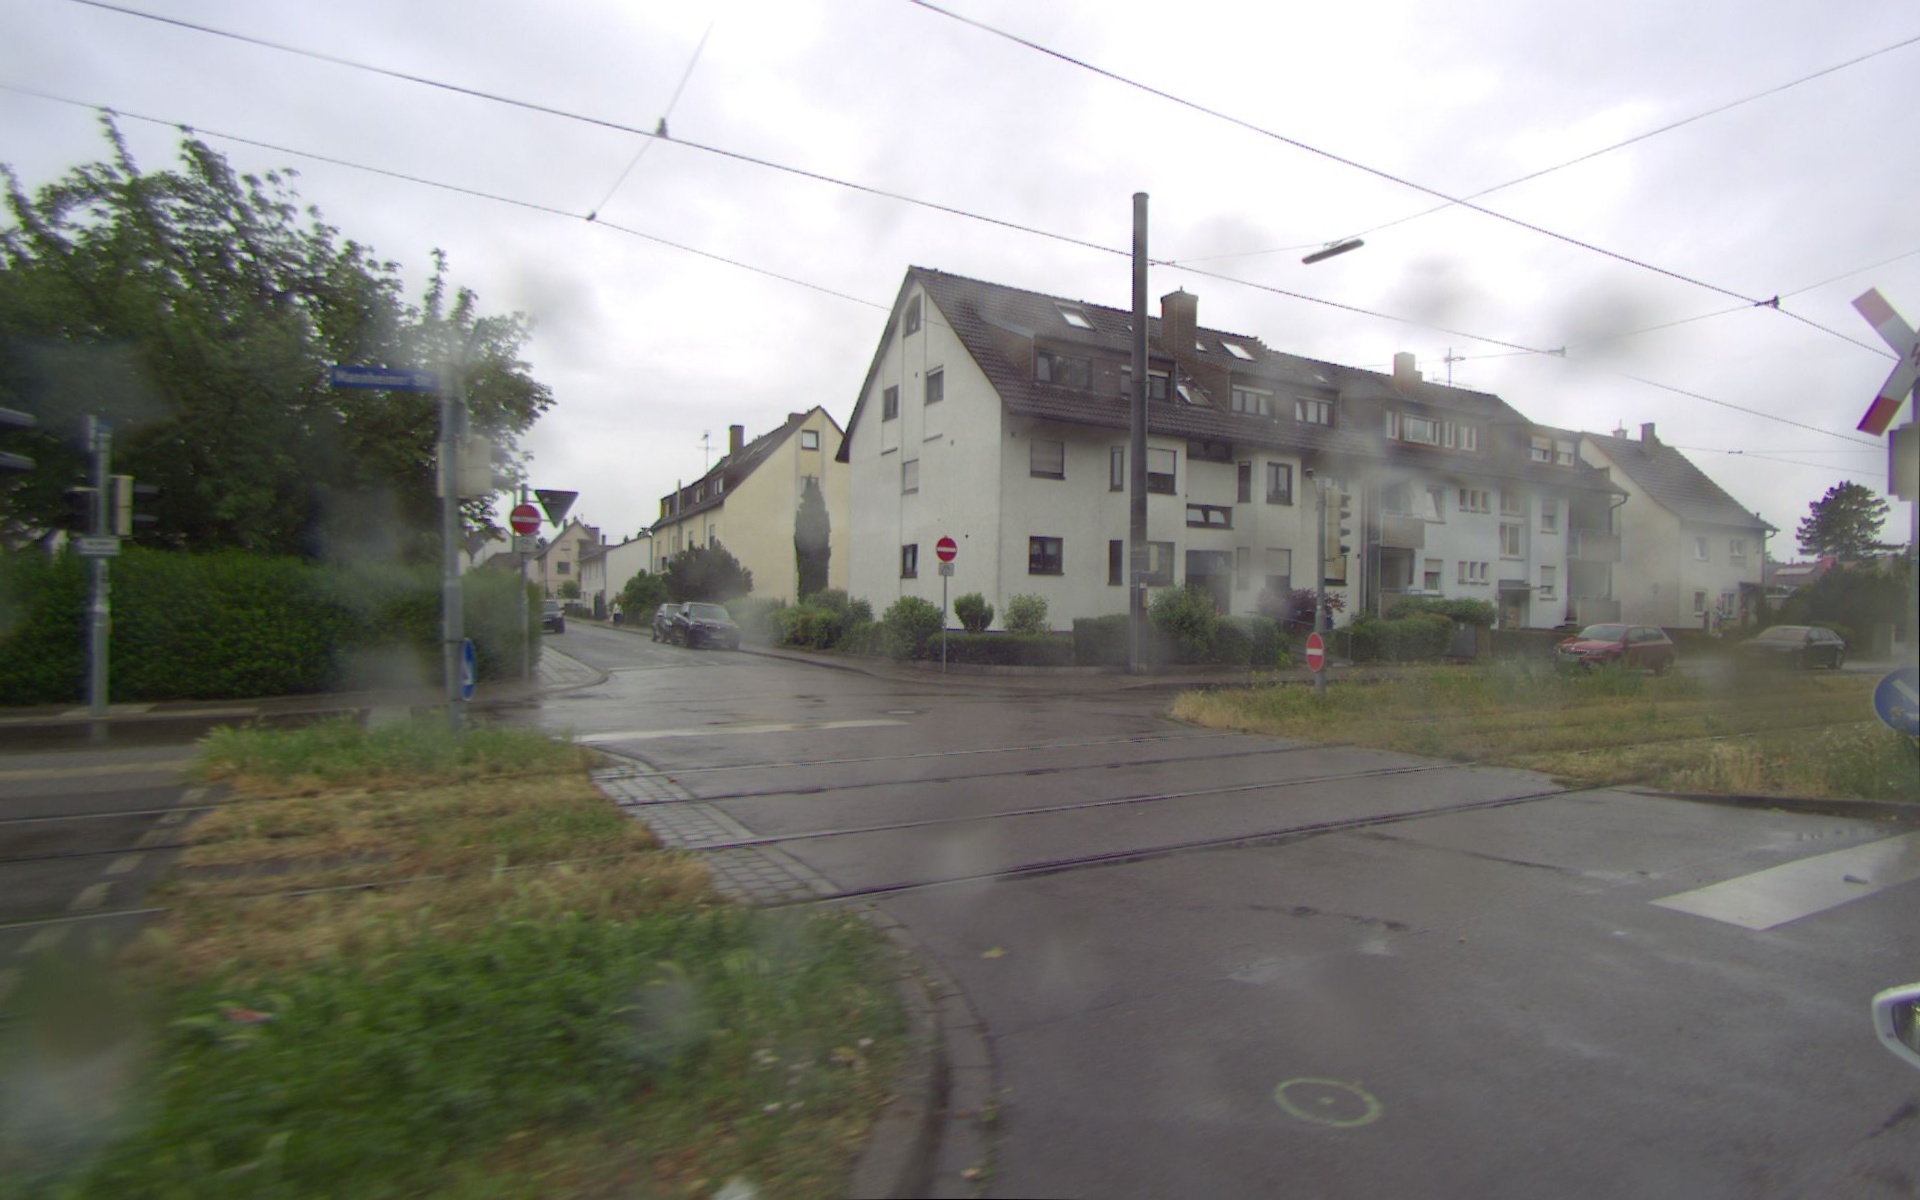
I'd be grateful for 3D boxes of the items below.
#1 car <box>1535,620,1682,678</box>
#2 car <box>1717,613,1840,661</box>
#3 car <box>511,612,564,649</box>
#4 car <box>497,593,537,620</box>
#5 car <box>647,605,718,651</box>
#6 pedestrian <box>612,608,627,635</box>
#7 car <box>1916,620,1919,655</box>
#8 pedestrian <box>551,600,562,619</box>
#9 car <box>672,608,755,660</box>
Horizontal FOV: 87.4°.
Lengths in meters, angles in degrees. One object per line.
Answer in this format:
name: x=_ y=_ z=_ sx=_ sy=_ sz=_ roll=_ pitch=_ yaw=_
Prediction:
car: x=18.891 y=1.417 z=29.263 sx=3.950 sy=1.506 sz=1.920 roll=2 pitch=0 yaw=-28
car: x=28.241 y=1.285 z=34.657 sx=3.950 sy=1.506 sz=1.920 roll=2 pitch=0 yaw=-28
car: x=-21.328 y=1.509 z=50.622 sx=1.977 sy=1.674 sz=3.967 roll=2 pitch=0 yaw=-30
car: x=-29.543 y=0.421 z=66.879 sx=1.977 sy=1.674 sz=3.967 roll=2 pitch=0 yaw=-30
car: x=-11.219 y=1.112 z=40.392 sx=1.975 sy=1.674 sz=3.972 roll=2 pitch=0 yaw=-27
pedestrian: x=-22.364 y=1.420 z=66.010 sx=0.792 sy=1.776 sz=0.888 roll=2 pitch=0 yaw=-28
car: x=42.814 y=1.658 z=42.735 sx=3.950 sy=1.506 sz=1.920 roll=2 pitch=0 yaw=-28
pedestrian: x=-36.405 y=0.861 z=90.620 sx=0.800 sy=1.674 sz=0.830 roll=2 pitch=0 yaw=-27
car: x=-8.804 y=1.176 z=35.597 sx=1.975 sy=1.674 sz=3.972 roll=2 pitch=0 yaw=-27
